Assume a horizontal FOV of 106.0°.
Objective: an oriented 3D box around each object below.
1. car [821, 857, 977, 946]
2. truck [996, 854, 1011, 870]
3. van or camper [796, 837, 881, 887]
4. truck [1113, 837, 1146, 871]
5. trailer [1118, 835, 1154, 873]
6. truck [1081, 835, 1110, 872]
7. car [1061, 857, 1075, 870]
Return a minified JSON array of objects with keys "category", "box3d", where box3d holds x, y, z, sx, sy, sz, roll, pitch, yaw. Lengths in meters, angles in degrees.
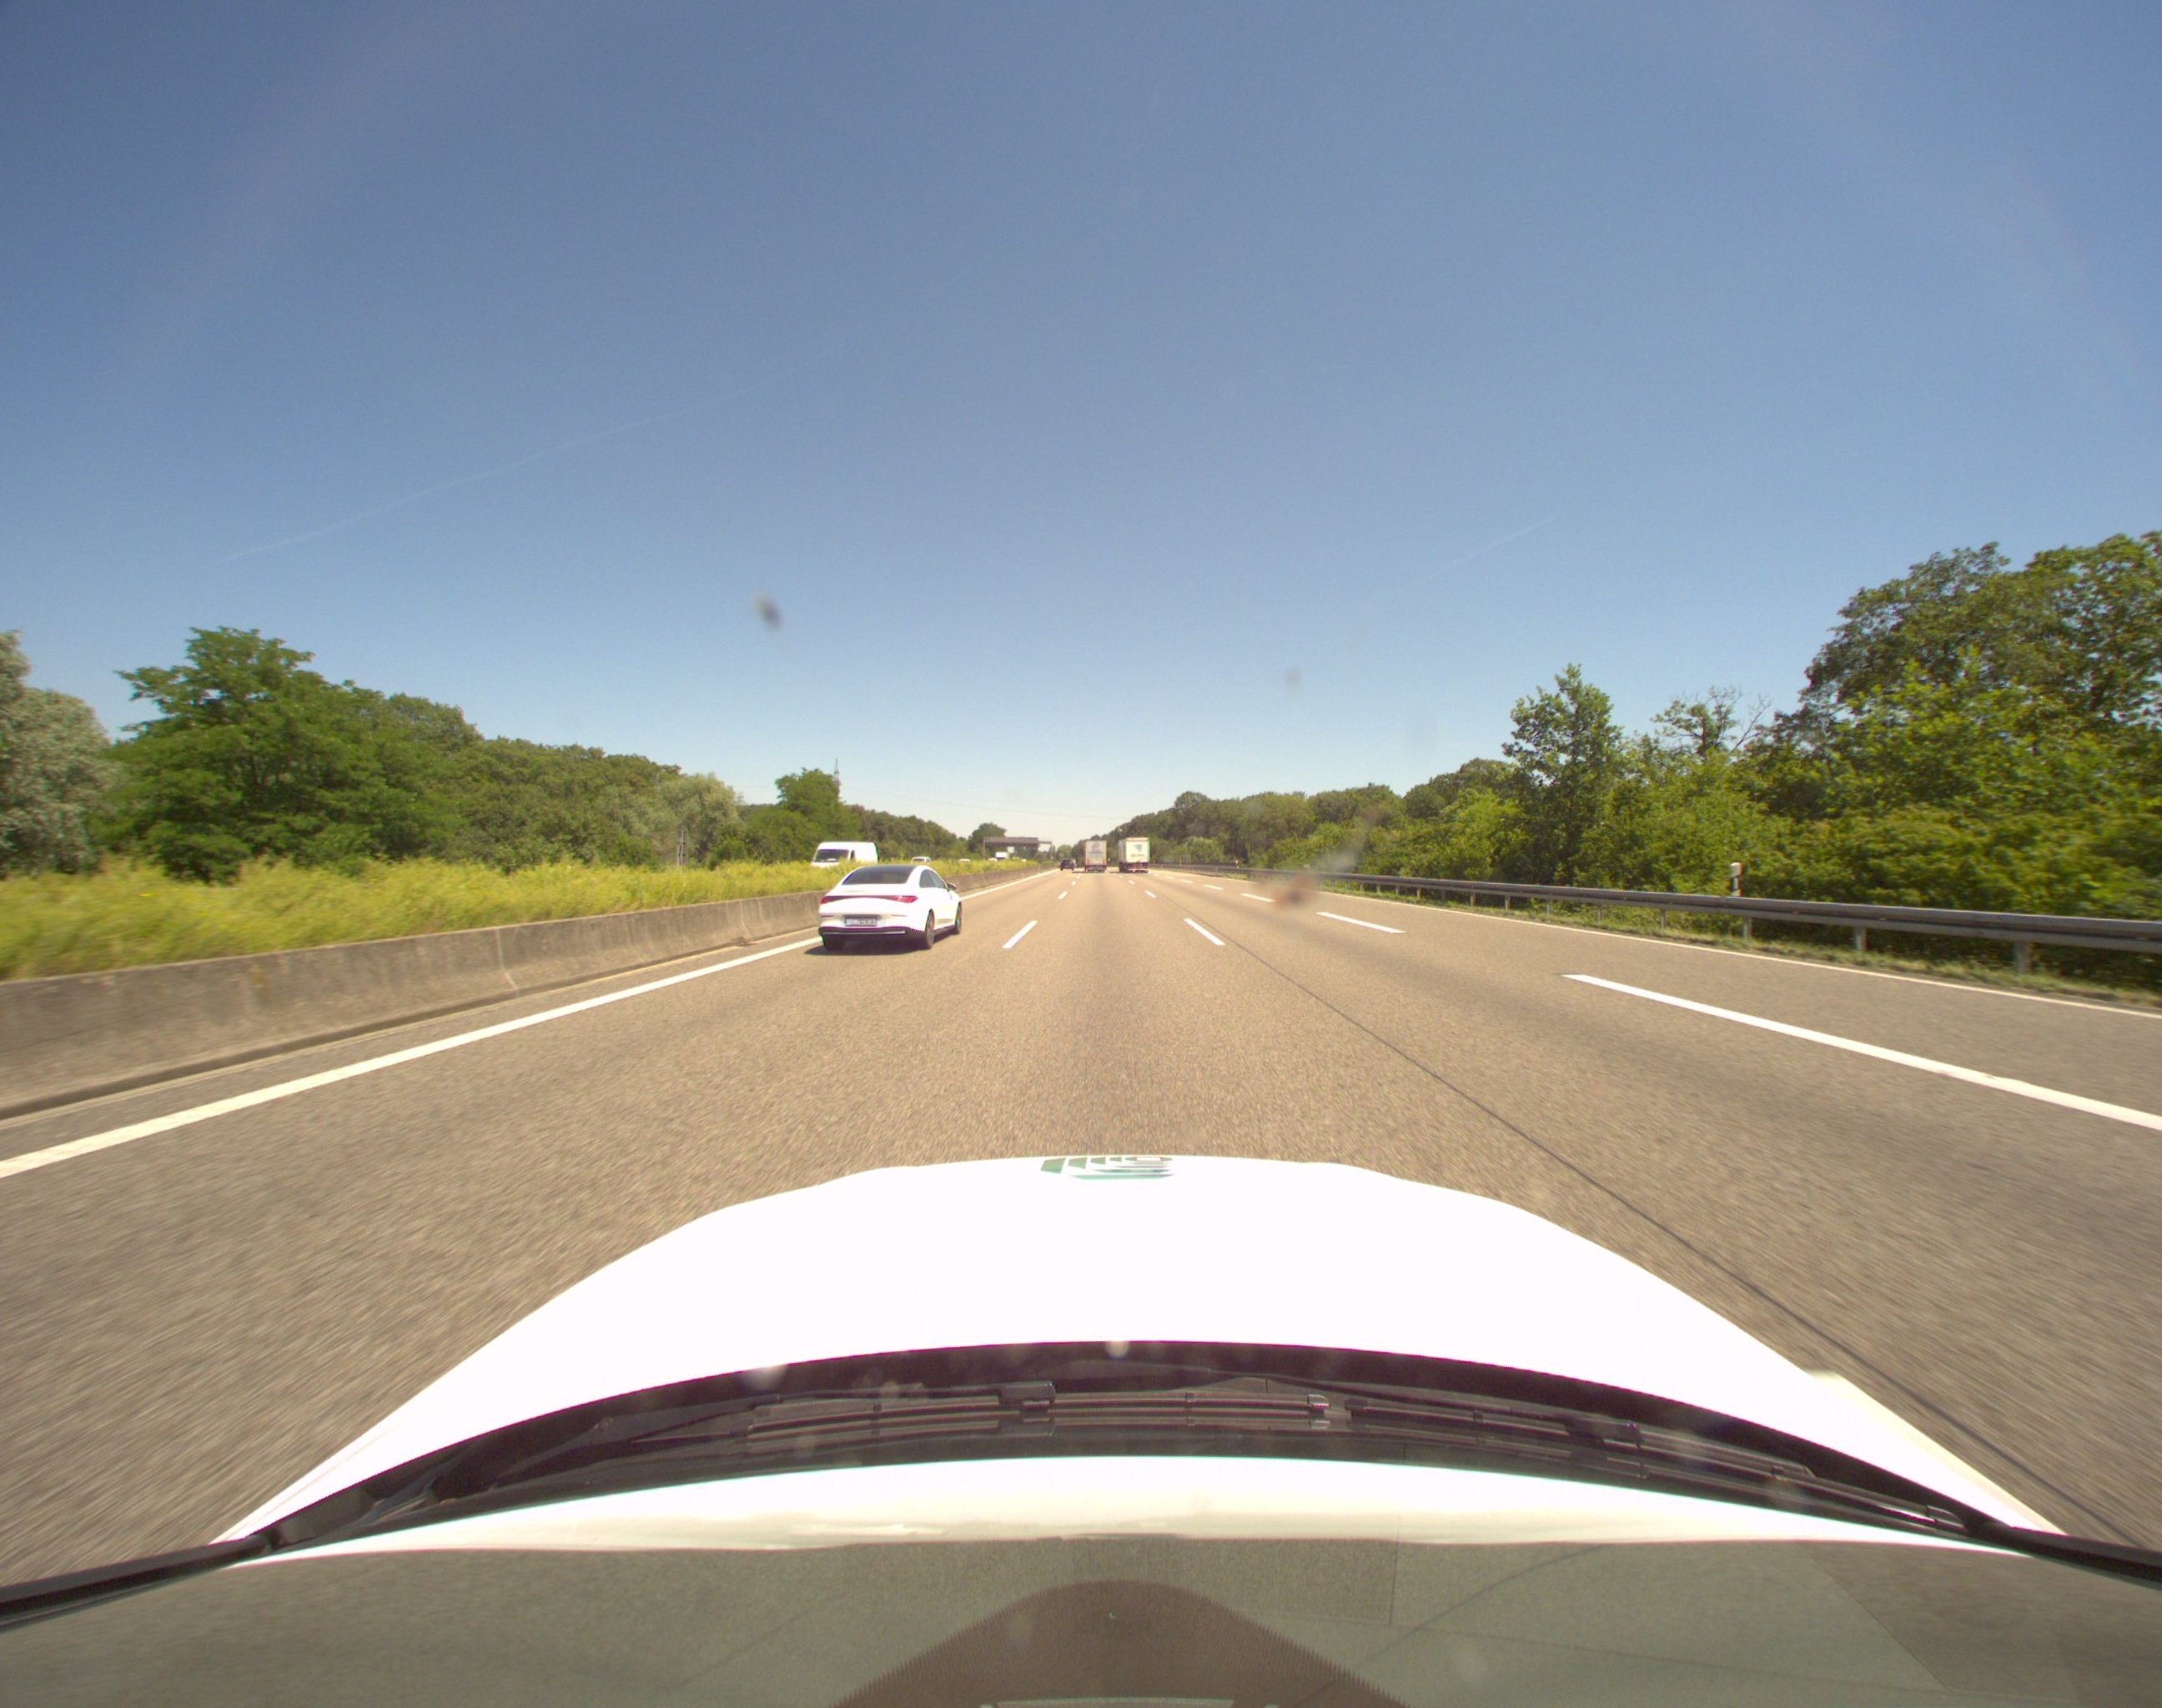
[{"category":"car","box3d":[-3.373,0.809,16.197,1.760,1.448,5.111,-1,0,2]},{"category":"truck","box3d":[-19.804,2.104,208.286,3.039,3.977,8.286,0,0,0]},{"category":"van or camper","box3d":[-12.676,0.398,43.166,2.241,2.387,6.763,-1,0,2]},{"category":"truck","box3d":[6.001,-0.076,102.564,3.316,4.052,10.948,0,1,-1]},{"category":"trailer","box3d":[6.175,-0.064,93.014,3.358,4.142,9.086,0,0,-2]},{"category":"truck","box3d":[1.669,-0.105,98.167,3.220,4.202,8.462,0,0,-1]},{"category":"car","box3d":[-1.997,1.421,122.232,1.989,1.874,3.996,0,1,-3]}]
